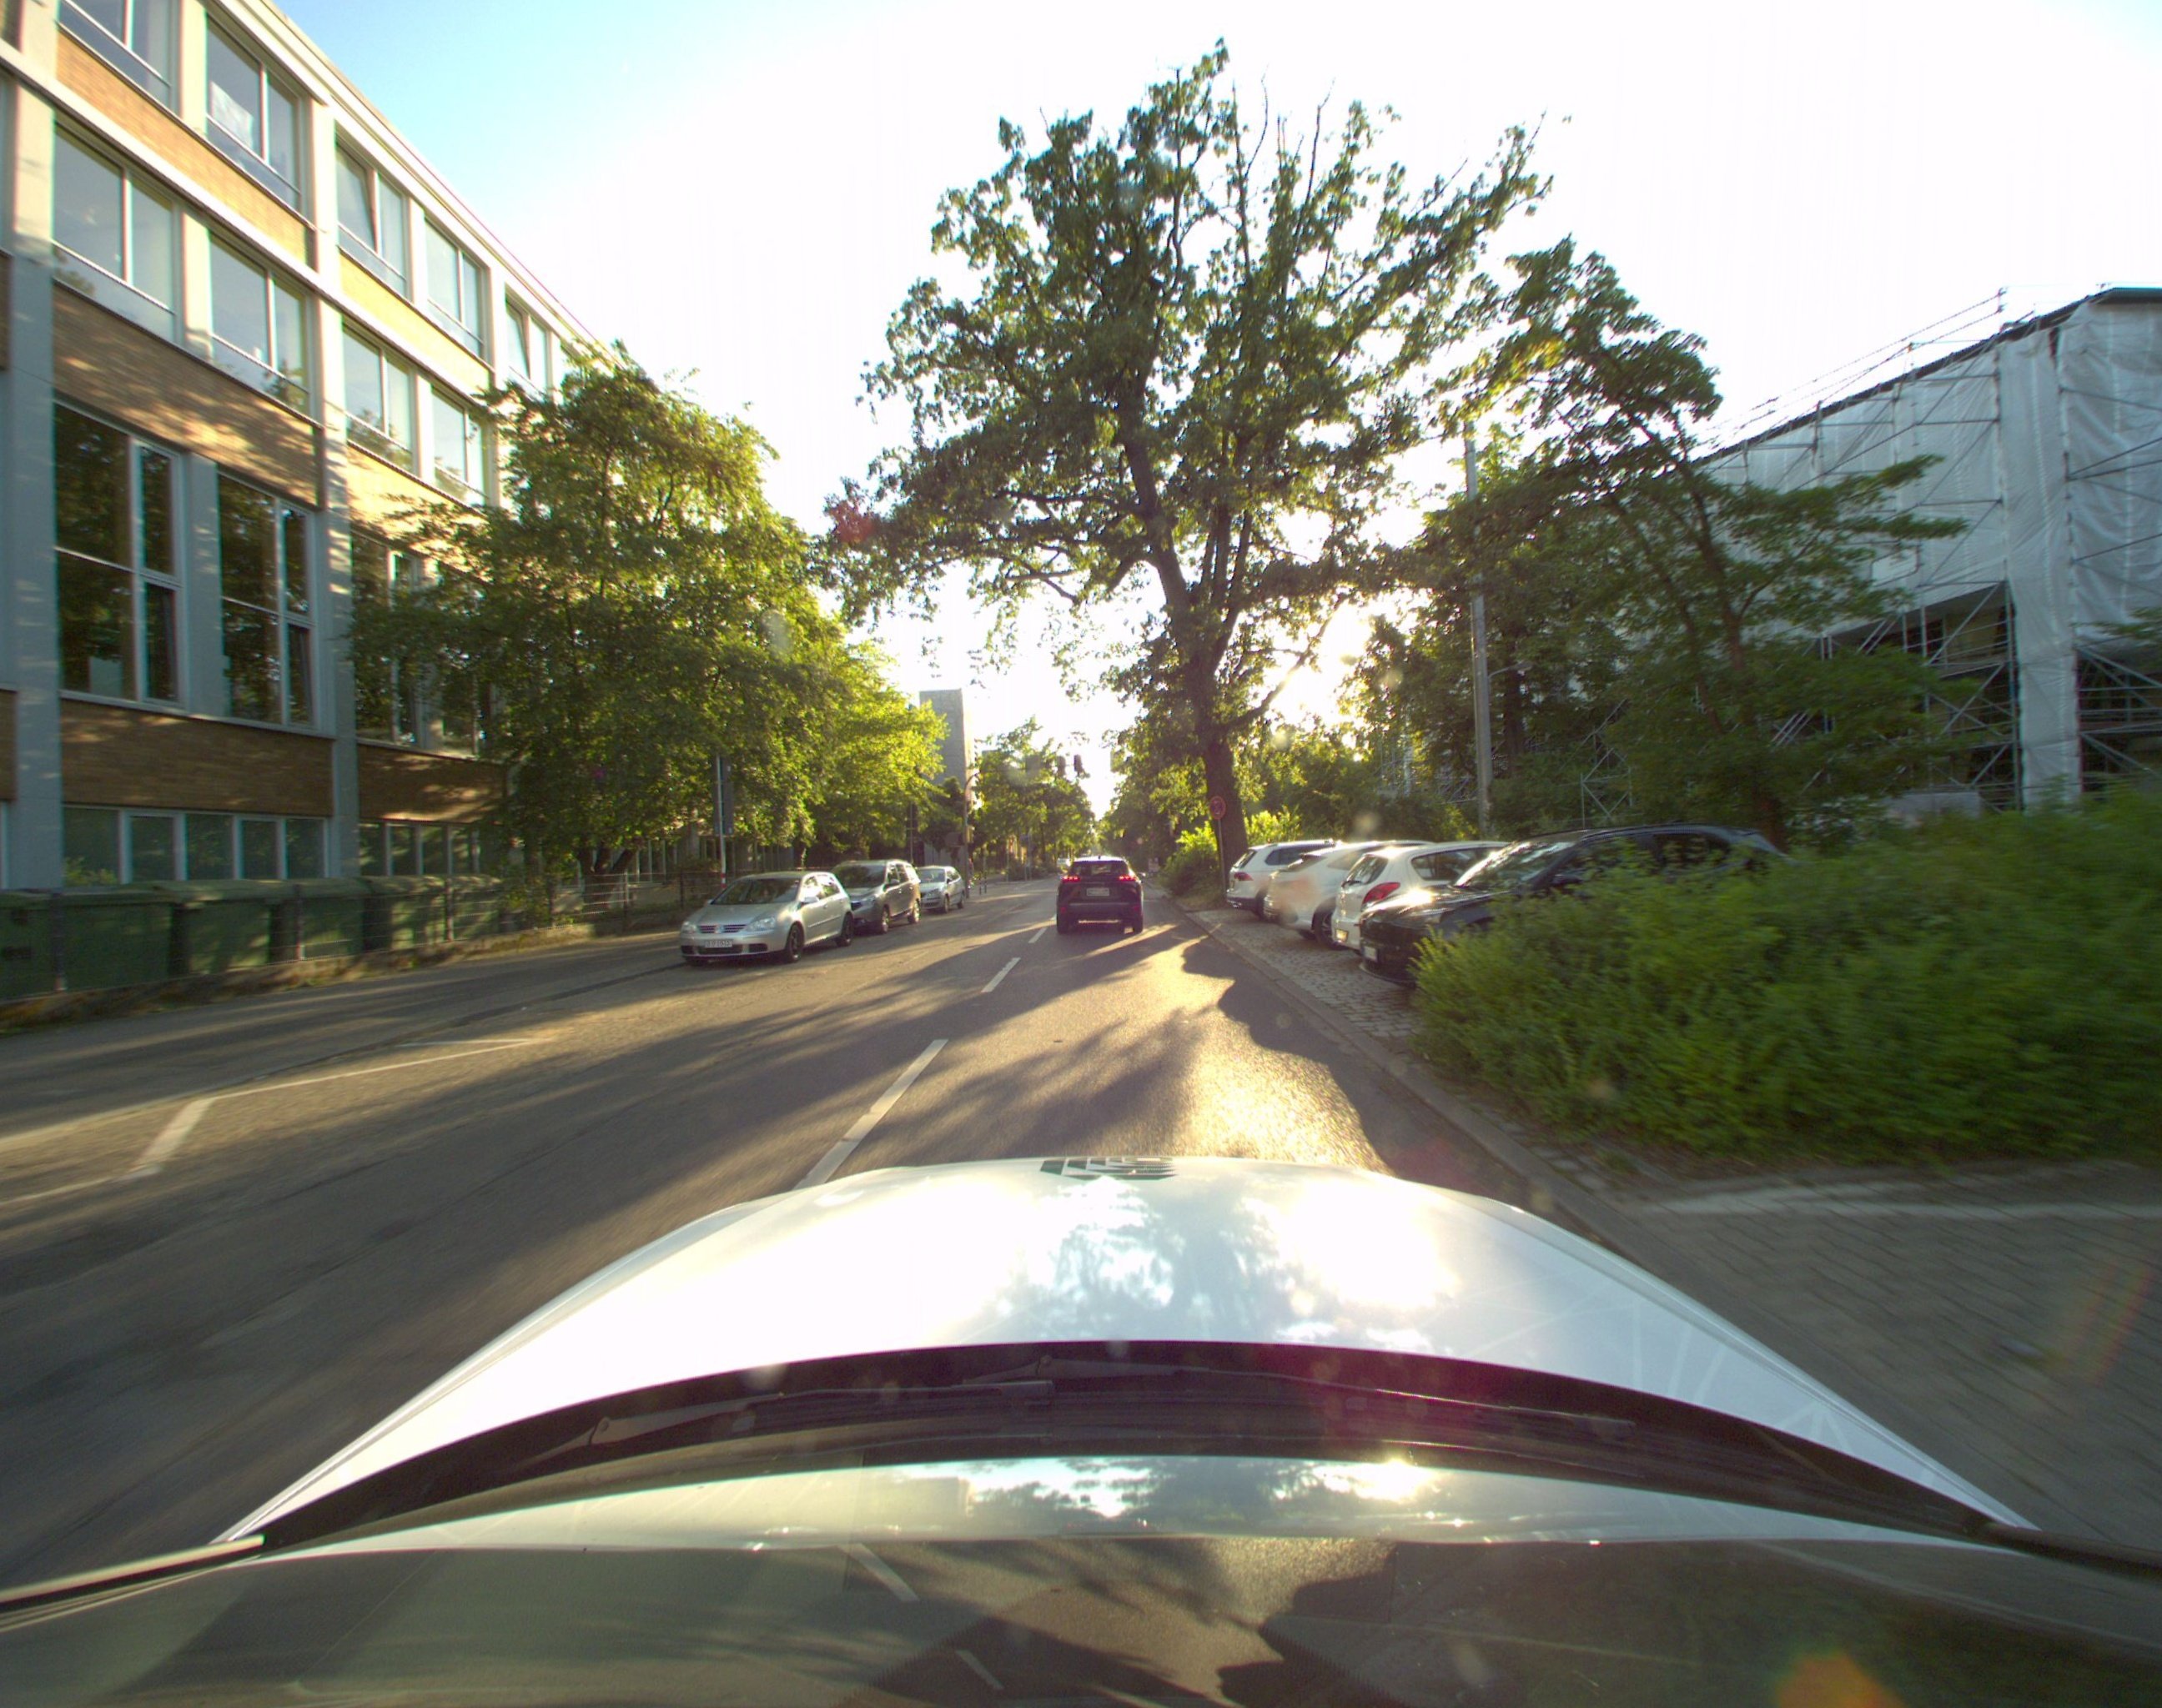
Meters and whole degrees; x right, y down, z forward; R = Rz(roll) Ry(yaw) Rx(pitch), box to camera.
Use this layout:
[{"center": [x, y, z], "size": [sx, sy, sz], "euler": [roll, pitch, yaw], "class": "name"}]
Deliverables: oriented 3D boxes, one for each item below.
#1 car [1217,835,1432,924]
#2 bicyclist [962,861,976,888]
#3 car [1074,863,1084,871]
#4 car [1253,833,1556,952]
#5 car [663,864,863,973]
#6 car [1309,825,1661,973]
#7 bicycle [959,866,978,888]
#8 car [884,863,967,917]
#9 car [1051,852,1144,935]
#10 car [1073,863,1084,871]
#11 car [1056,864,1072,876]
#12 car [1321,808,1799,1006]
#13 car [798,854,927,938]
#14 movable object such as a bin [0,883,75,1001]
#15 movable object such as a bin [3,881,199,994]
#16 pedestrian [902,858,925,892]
[{"center": [5.117, 0.537, 17.593], "size": [4.149, 1.710, 1.870], "euler": [-2, -1, 6], "class": "car"}, {"center": [-6.736, 1.213, 48.831], "size": [0.672, 1.603, 0.707], "euler": [-2, -1, 4], "class": "bicyclist"}, {"center": [-0.430, 2.396, 153.080], "size": [1.805, 1.354, 3.997], "euler": [-3, -1, -2], "class": "car"}, {"center": [4.944, 0.578, 12.889], "size": [4.106, 1.667, 1.723], "euler": [-1, -1, 1], "class": "car"}, {"center": [-5.302, 0.985, 14.224], "size": [1.664, 1.494, 4.064], "euler": [-3, 0, 2], "class": "car"}, {"center": [4.977, 0.528, 10.446], "size": [3.576, 1.566, 1.819], "euler": [-3, 0, 1], "class": "car"}, {"center": [-6.738, 1.386, 48.833], "size": [0.683, 1.249, 2.194], "euler": [-2, -1, 3], "class": "bicycle"}, {"center": [-4.868, 1.101, 26.015], "size": [1.672, 1.457, 3.884], "euler": [-3, 0, 2], "class": "car"}, {"center": [0.382, 0.783, 17.587], "size": [1.761, 1.568, 3.382], "euler": [-2, 0, 2], "class": "car"}, {"center": [-0.516, 2.256, 143.018], "size": [1.805, 1.354, 3.976], "euler": [-3, -1, -2], "class": "car"}, {"center": [-2.167, 2.022, 102.945], "size": [1.806, 1.354, 3.995], "euler": [-3, -1, -3], "class": "car"}, {"center": [4.529, 0.470, 8.120], "size": [3.733, 1.594, 1.696], "euler": [-3, 0, -1], "class": "car"}, {"center": [-5.113, 0.909, 19.682], "size": [1.672, 1.708, 4.343], "euler": [-3, 0, 2], "class": "car"}, {"center": [-13.949, 1.119, 10.092], "size": [1.094, 1.430, 1.488], "euler": [-2, -1, 5], "class": "movable object such as a bin"}, {"center": [-13.816, 1.139, 11.544], "size": [1.094, 1.430, 1.374], "euler": [-2, -1, 5], "class": "movable object such as a bin"}, {"center": [-9.489, 1.189, 46.134], "size": [0.961, 1.824, 0.813], "euler": [-2, -1, -35], "class": "pedestrian"}]
